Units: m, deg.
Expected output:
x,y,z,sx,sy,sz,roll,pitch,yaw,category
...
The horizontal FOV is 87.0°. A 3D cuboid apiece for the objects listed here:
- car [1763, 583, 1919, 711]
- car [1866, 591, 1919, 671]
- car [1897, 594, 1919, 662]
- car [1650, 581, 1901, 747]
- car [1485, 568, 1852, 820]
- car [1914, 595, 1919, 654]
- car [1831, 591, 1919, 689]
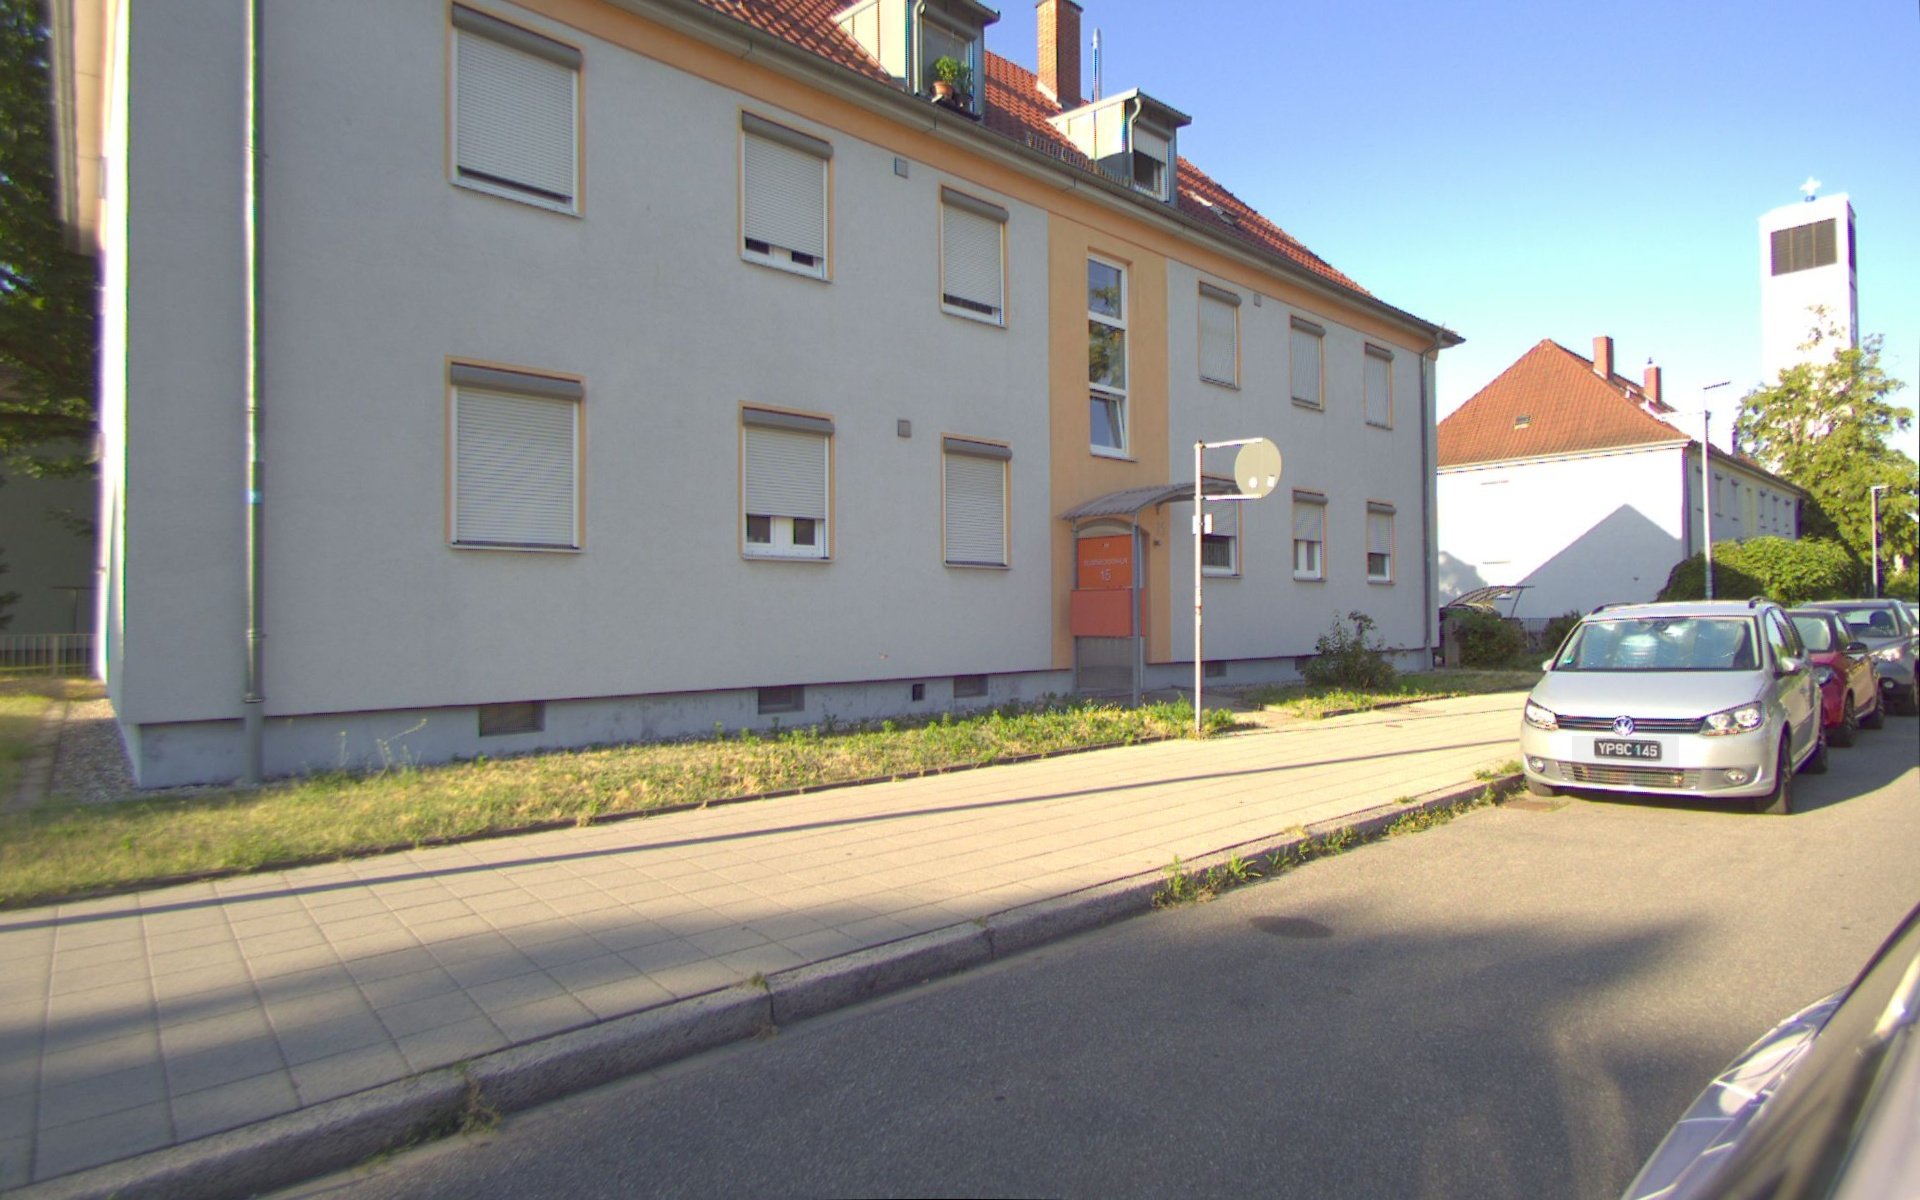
x,y,z,sx,sy,sz,roll,pitch,yaw,category
13.898,0.658,15.543,3.933,1.717,1.846,0,-3,-44,car
22.188,0.656,23.114,3.933,1.717,1.846,0,-3,-44,car
26.213,0.675,26.707,3.933,1.717,1.846,0,-3,-44,car
10.146,0.692,12.492,3.933,1.717,1.846,0,-3,-44,car
6.380,0.671,8.949,3.933,1.717,1.846,0,-3,-44,car
29.975,0.682,30.236,3.933,1.717,1.846,0,-3,-44,car
18.178,0.708,19.365,3.933,1.717,1.846,0,-3,-44,car
